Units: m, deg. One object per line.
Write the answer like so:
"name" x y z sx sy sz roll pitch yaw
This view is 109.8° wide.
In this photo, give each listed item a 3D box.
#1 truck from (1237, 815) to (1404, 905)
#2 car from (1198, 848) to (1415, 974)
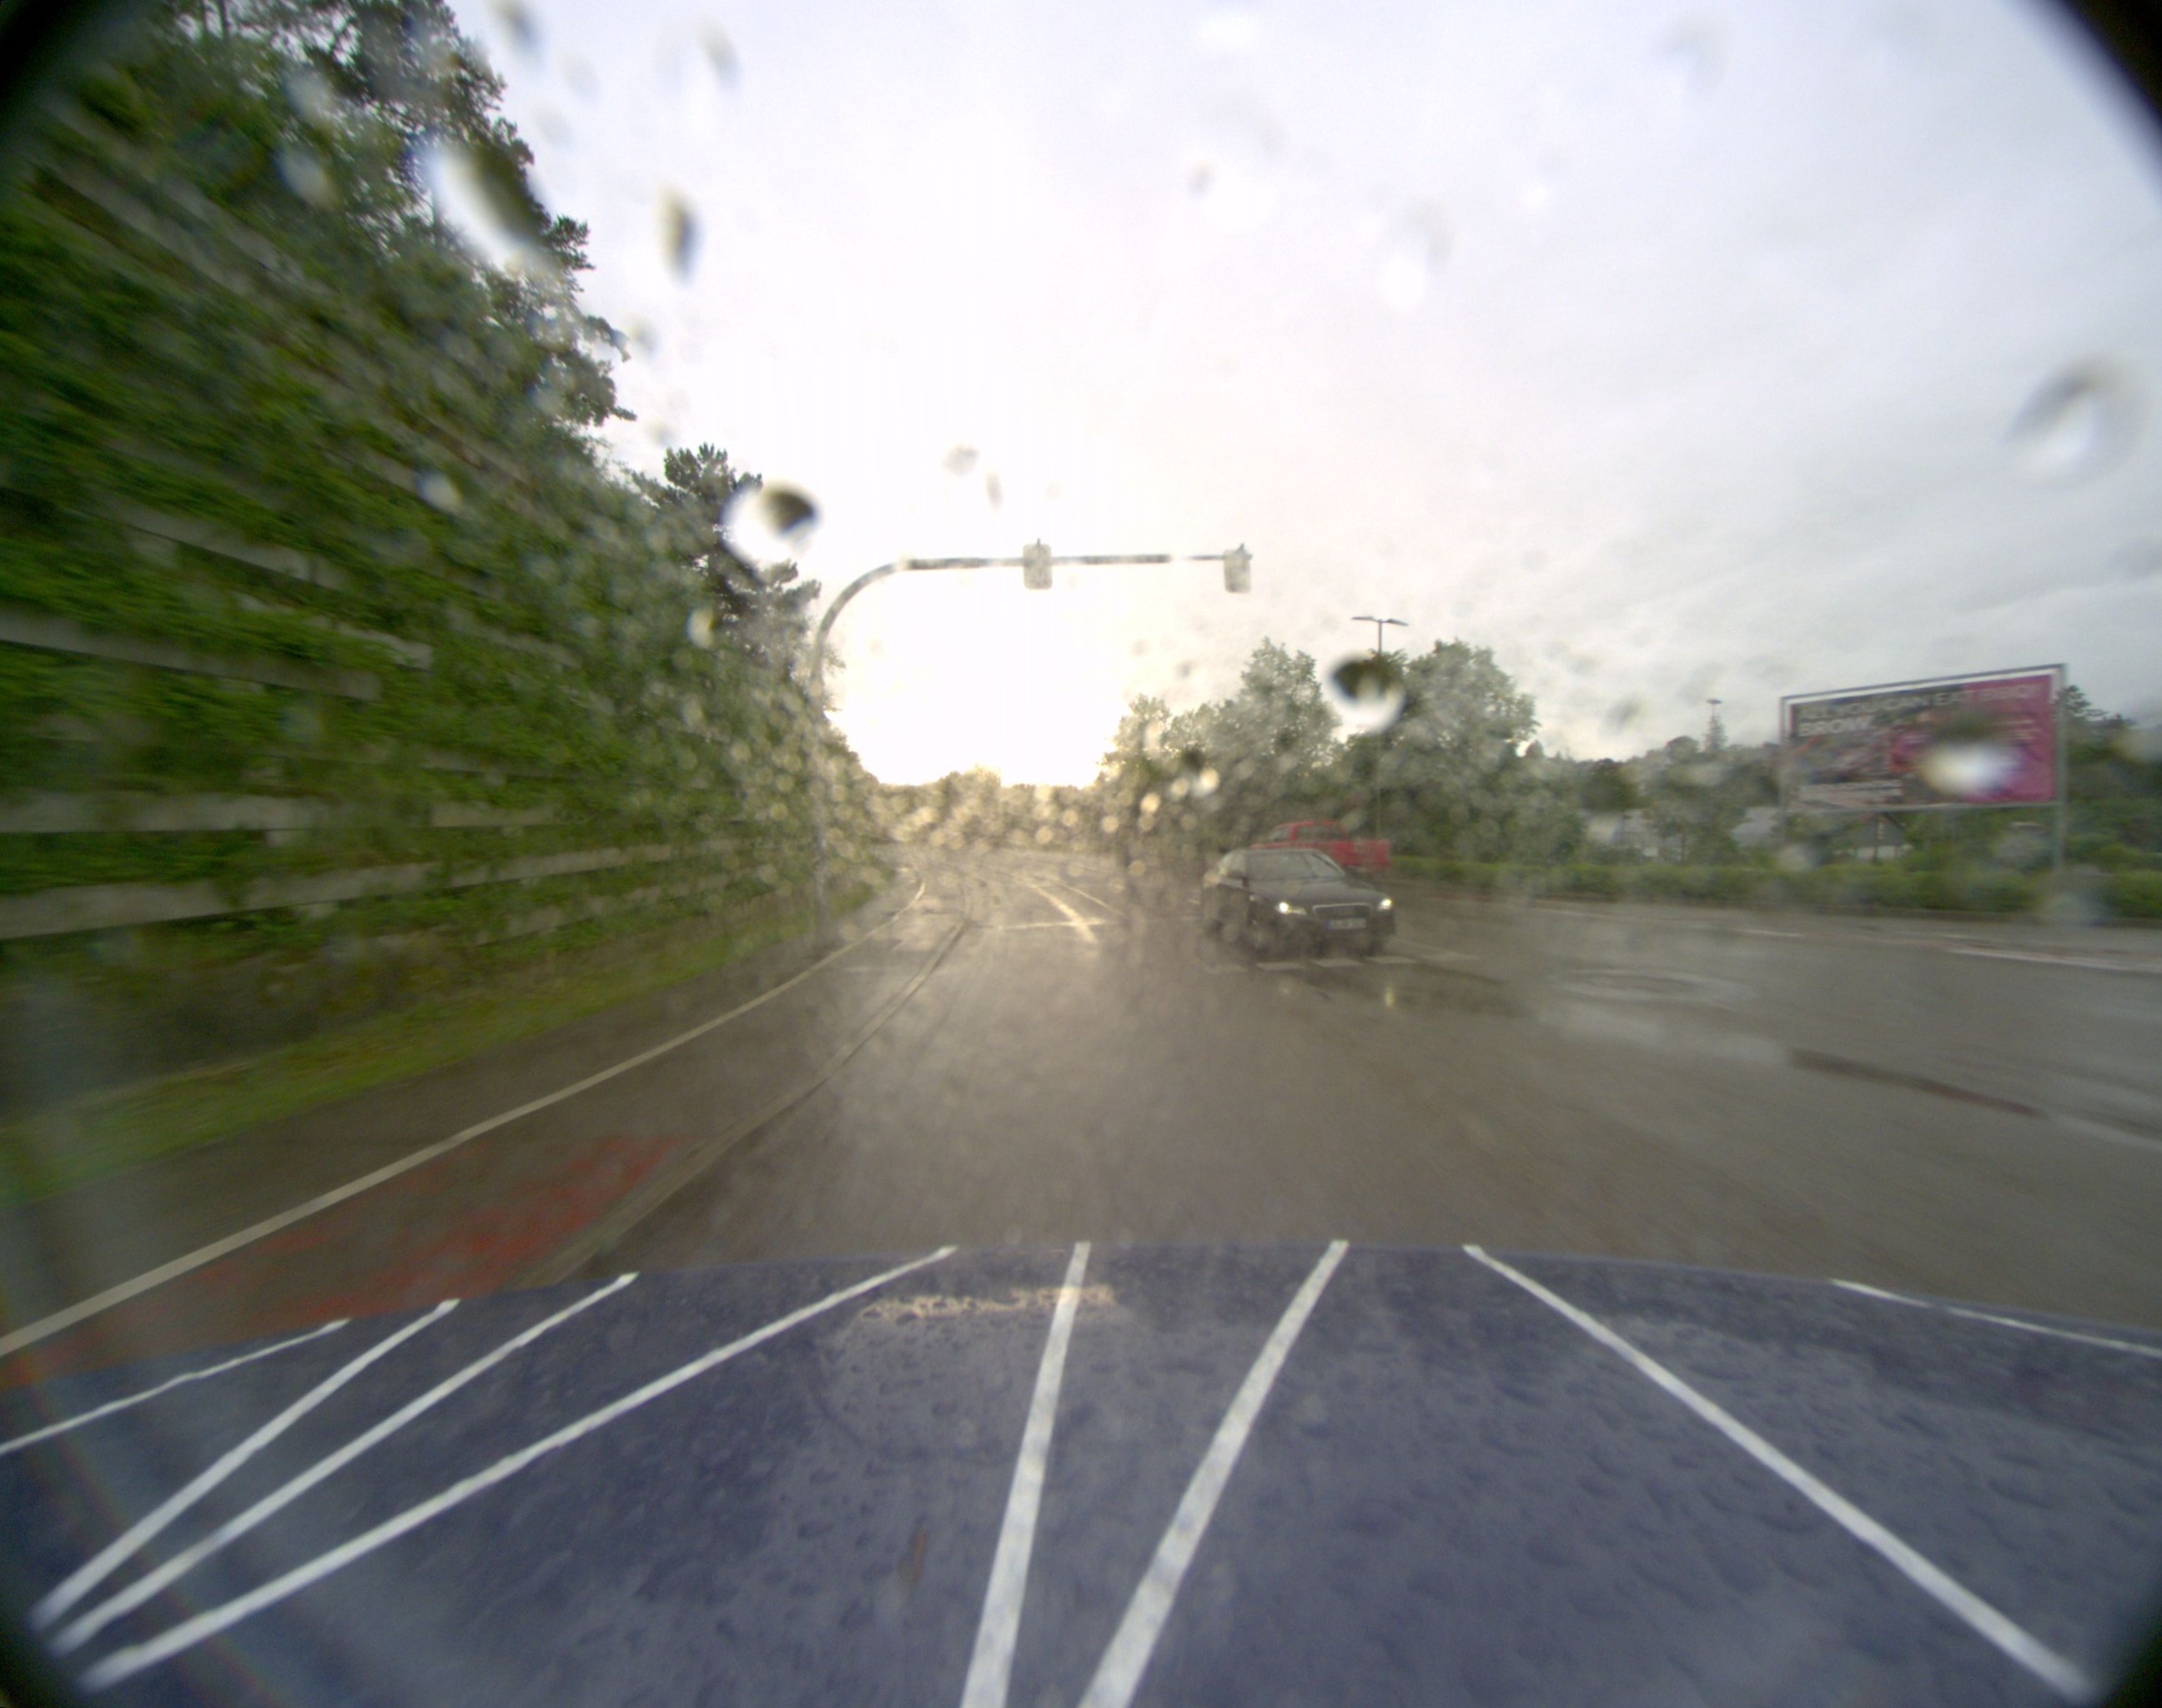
"truck" 6.089 0.068 20.145 2.000 2.002 5.332 -2 2 -9
"car" 3.059 0.670 11.216 1.759 1.388 3.997 -2 2 -4
